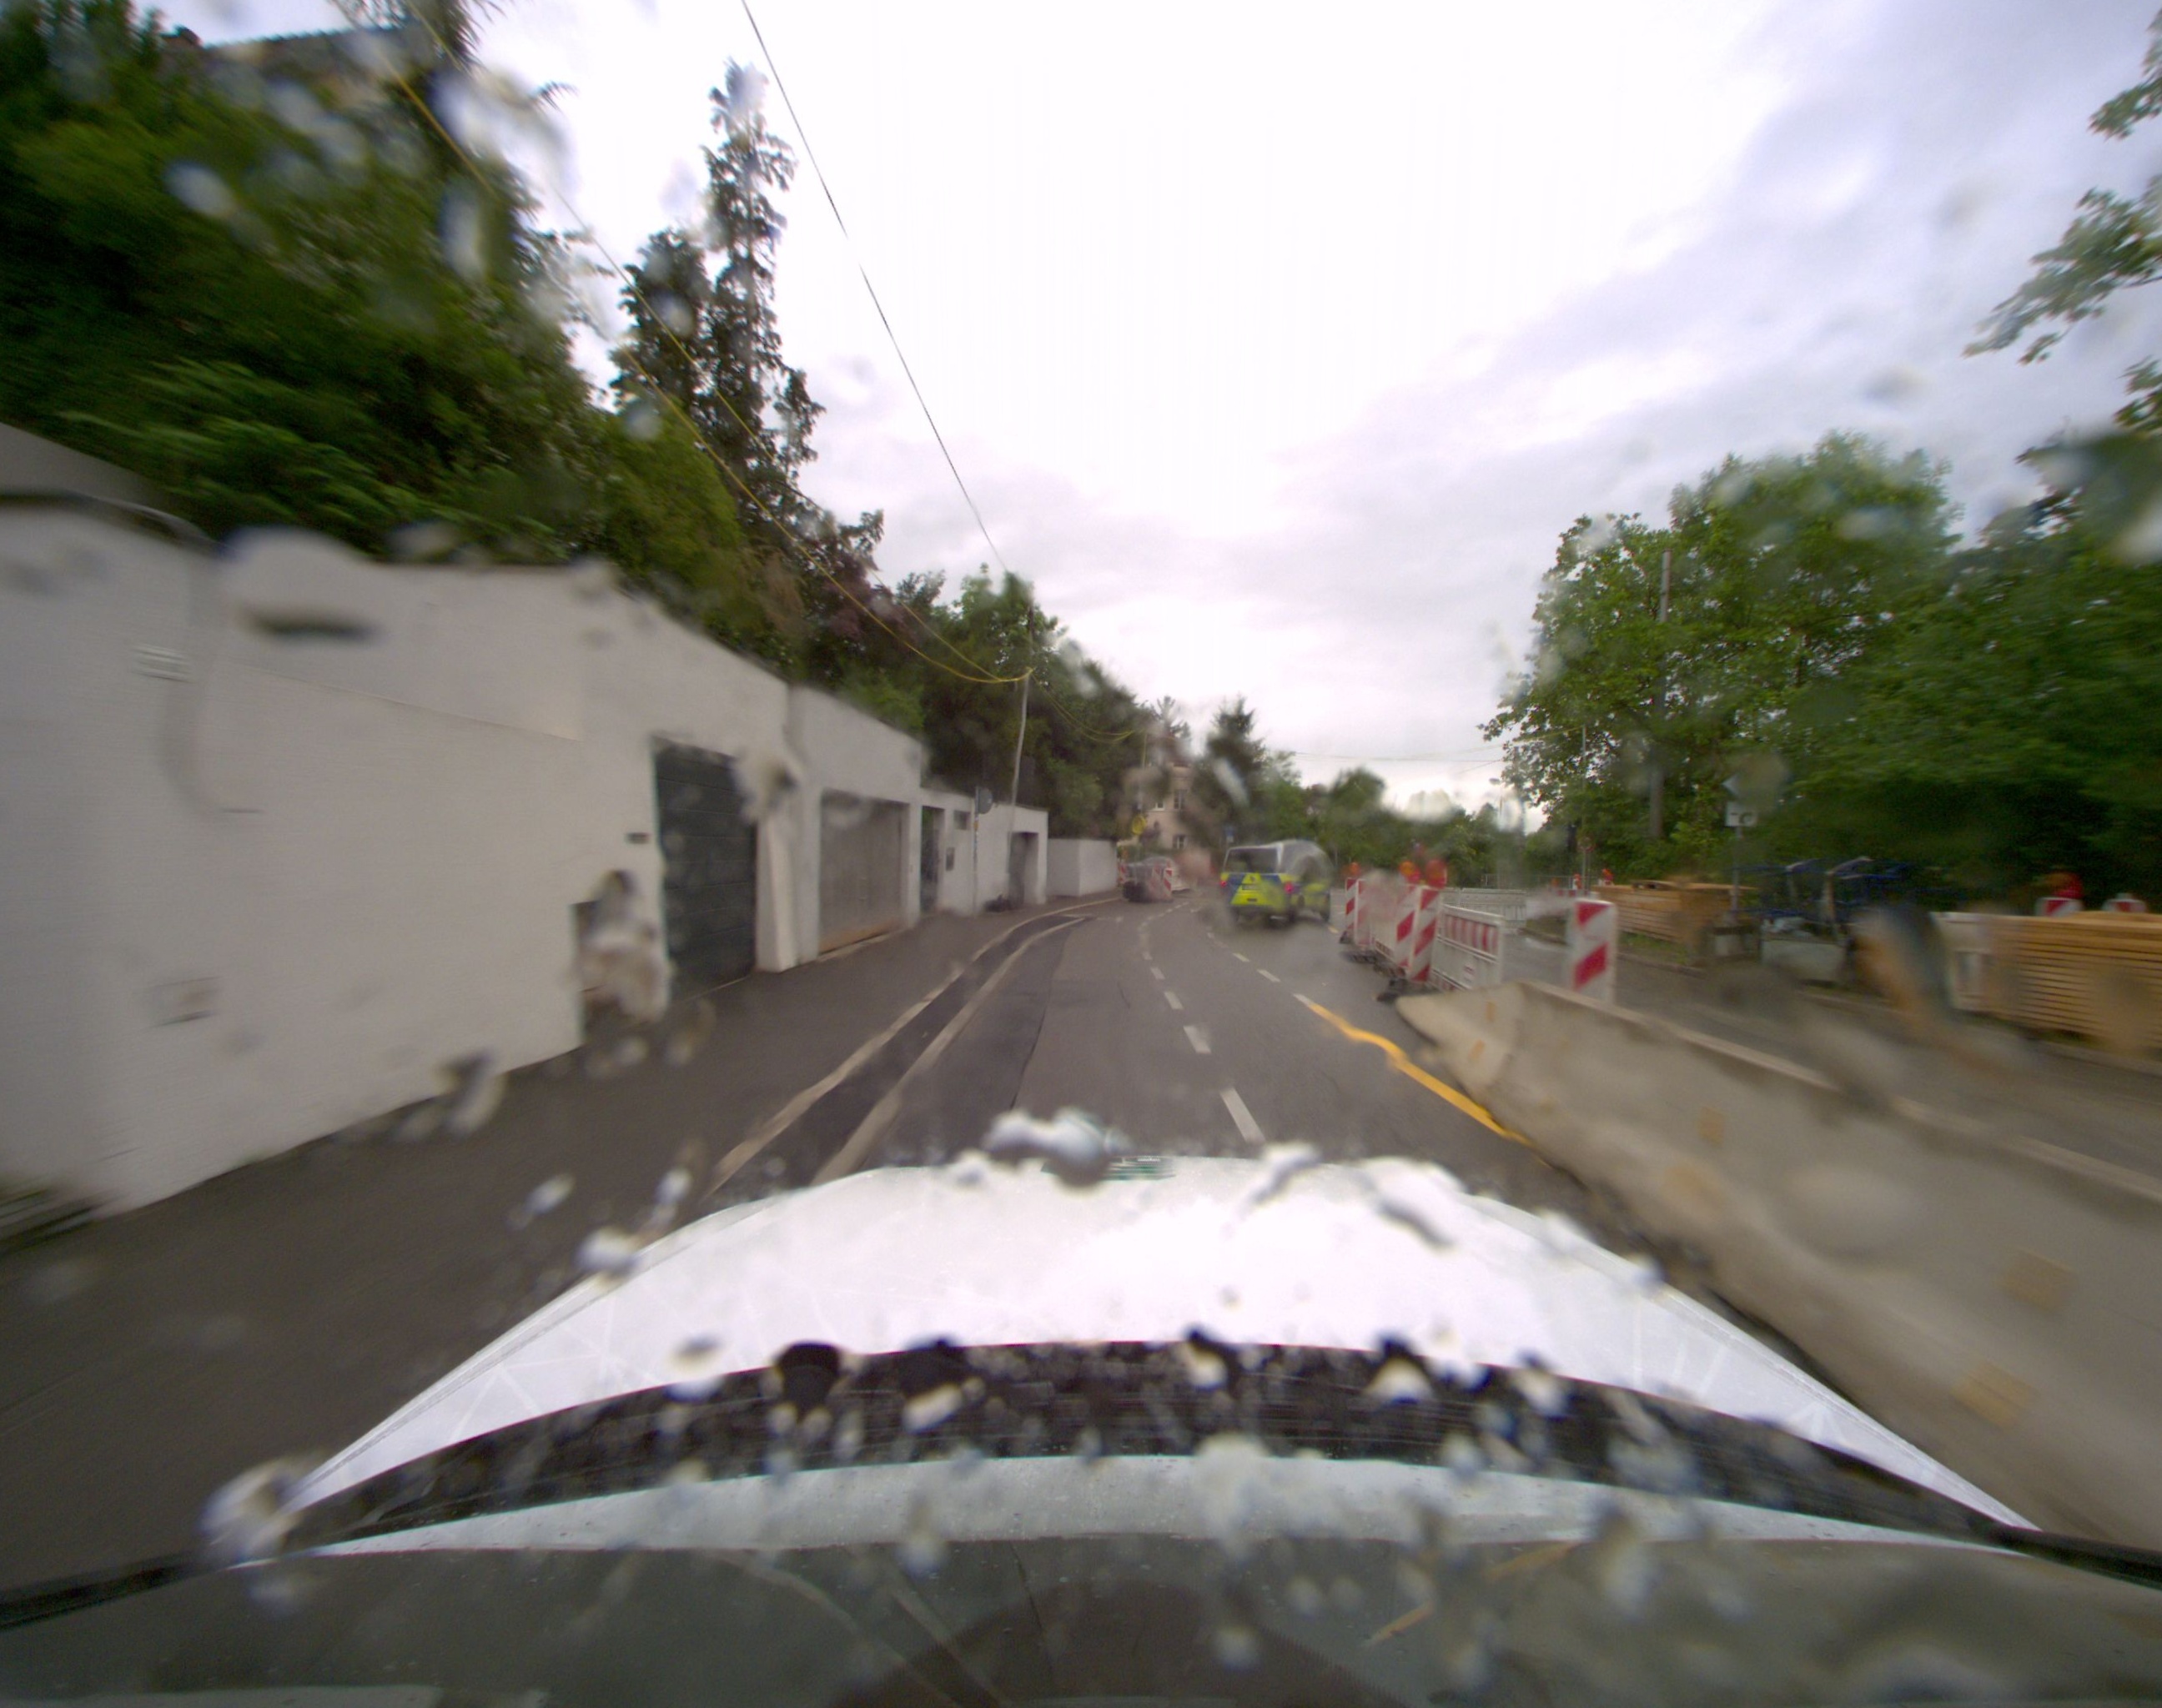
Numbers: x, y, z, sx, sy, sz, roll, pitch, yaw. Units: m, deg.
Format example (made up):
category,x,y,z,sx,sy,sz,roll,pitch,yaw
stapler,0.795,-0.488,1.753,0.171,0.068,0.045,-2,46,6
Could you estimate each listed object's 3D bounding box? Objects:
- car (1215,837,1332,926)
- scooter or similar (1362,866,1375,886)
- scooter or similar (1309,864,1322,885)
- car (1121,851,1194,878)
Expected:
category,x,y,z,sx,sy,sz,roll,pitch,yaw
car,5.118,0.703,21.187,1.890,2.010,4.465,2,-1,27
scooter or similar,16.705,1.254,47.389,0.462,1.144,0.835,2,-1,3
scooter or similar,13.816,1.212,47.961,0.462,1.187,1.026,2,-1,2
car,4.617,0.626,49.266,3.949,1.517,1.738,2,-1,31
